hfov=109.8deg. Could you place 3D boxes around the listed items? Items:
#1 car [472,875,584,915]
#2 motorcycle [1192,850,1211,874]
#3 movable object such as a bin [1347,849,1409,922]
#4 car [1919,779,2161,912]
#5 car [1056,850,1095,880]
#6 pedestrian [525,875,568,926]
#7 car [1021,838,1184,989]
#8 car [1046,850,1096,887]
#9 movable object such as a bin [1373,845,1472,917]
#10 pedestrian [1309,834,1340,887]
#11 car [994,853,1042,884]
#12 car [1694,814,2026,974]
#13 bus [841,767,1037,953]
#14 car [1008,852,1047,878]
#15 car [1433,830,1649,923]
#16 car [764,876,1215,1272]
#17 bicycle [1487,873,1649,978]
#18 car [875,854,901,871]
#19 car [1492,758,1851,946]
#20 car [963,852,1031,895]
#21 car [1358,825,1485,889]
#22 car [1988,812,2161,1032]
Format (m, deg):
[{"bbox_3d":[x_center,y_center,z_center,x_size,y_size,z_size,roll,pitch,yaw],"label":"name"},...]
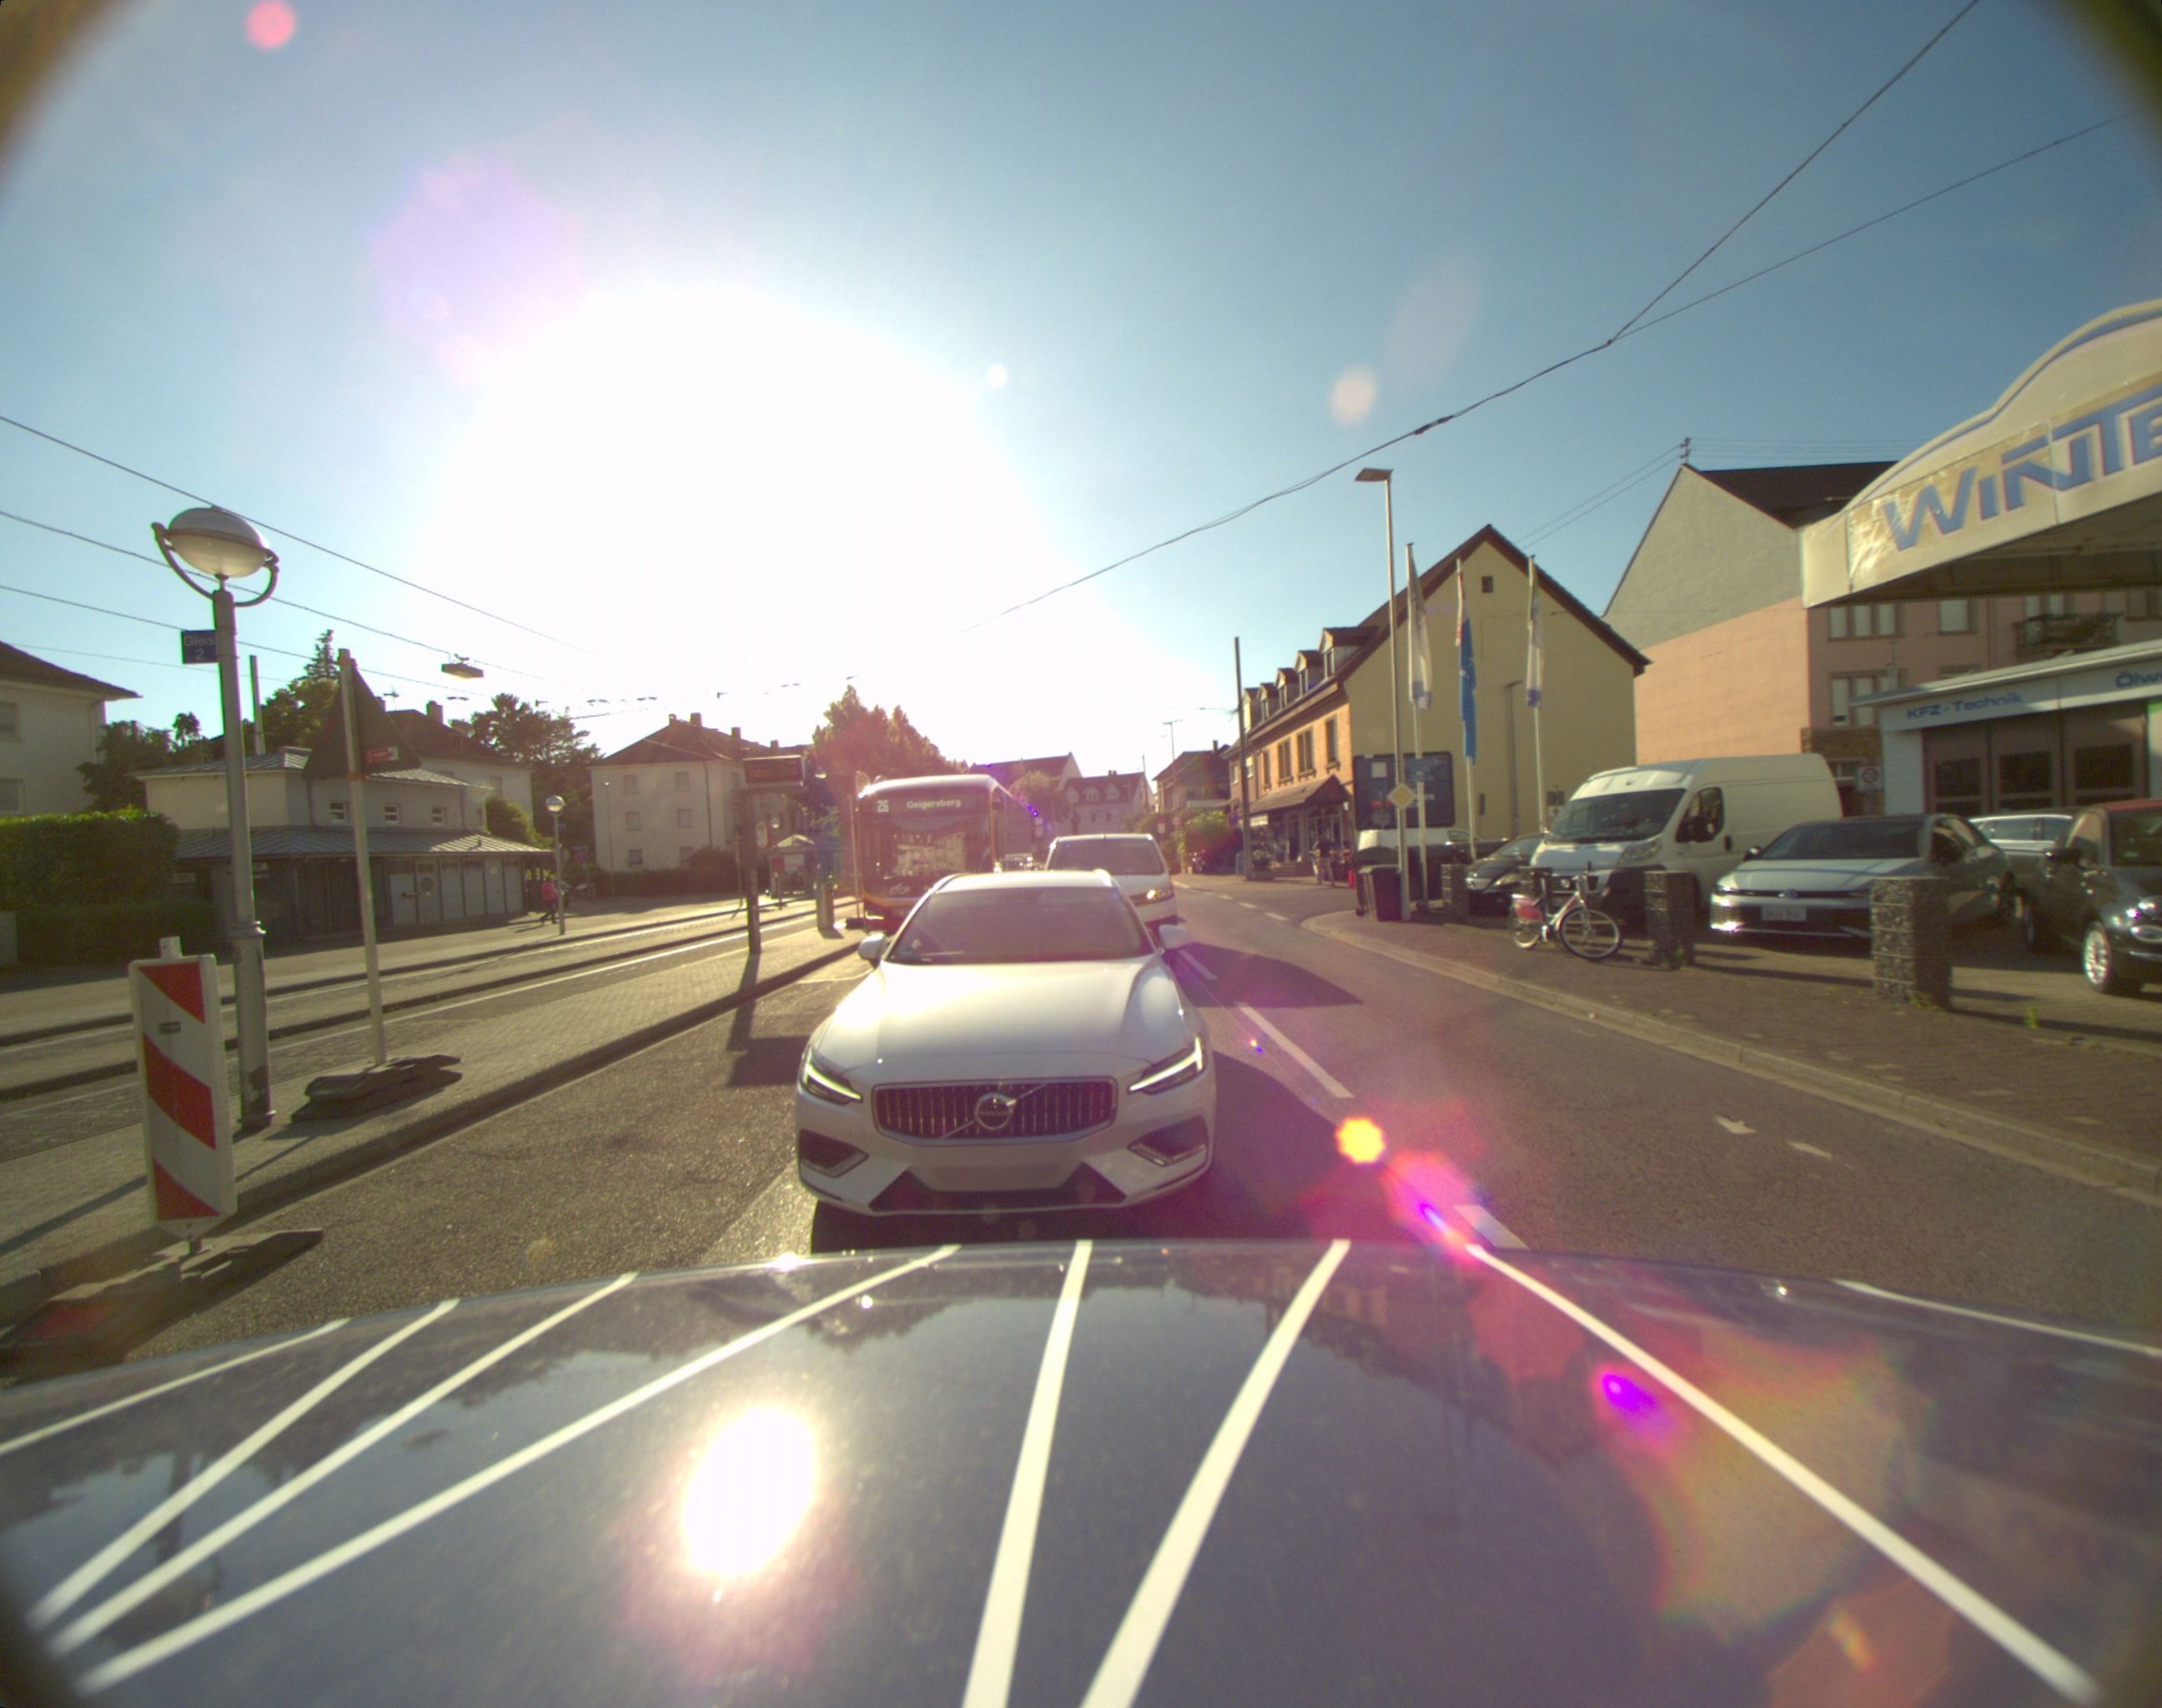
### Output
[{"bbox_3d":[-27.686,2.043,38.144,4.052,1.663,2.000,-4,1,2],"label":"car"},{"bbox_3d":[6.355,0.415,40.125,0.708,1.210,2.186,-2,1,3],"label":"motorcycle"},{"bbox_3d":[6.238,0.640,15.956,1.045,1.456,0.797,-2,1,32],"label":"movable object such as a bin"},{"bbox_3d":[16.483,-0.173,11.993,1.742,1.933,4.257,-3,1,-1],"label":"car"},{"bbox_3d":[-0.251,0.564,41.513,1.969,1.450,4.824,-2,0,1],"label":"car"},{"bbox_3d":[-18.790,1.635,26.723,0.841,1.708,0.825,-2,1,5],"label":"pedestrian"},{"bbox_3d":[0.305,0.732,12.015,1.969,1.816,5.033,-2,0,1],"label":"car"},{"bbox_3d":[-0.390,0.580,33.266,1.969,1.450,4.824,-2,0,1],"label":"car"},{"bbox_3d":[7.595,0.577,16.919,1.798,1.456,1.046,-3,1,-25],"label":"movable object such as a bin"},{"bbox_3d":[8.727,0.238,27.245,0.822,1.842,0.767,-2,1,-1],"label":"pedestrian"},{"bbox_3d":[-3.227,0.703,39.894,1.969,1.450,4.824,-2,0,1],"label":"car"},{"bbox_3d":[9.492,0.359,9.217,4.036,1.488,1.739,-3,1,-28],"label":"car"},{"bbox_3d":[-2.917,0.093,19.838,2.748,3.284,12.030,-2,0,0],"label":"bus"},{"bbox_3d":[-3.270,0.628,47.309,1.969,1.450,4.824,-2,0,1],"label":"car"},{"bbox_3d":[8.969,0.373,14.752,4.036,1.469,1.739,-3,1,-28],"label":"car"},{"bbox_3d":[-0.351,0.981,5.262,1.821,1.446,4.217,-2,0,1],"label":"car"},{"bbox_3d":[5.884,0.813,9.319,0.725,1.080,1.791,-3,1,-3],"label":"bicycle"},{"bbox_3d":[-23.260,1.012,91.777,1.998,1.853,3.999,-2,1,1],"label":"car"},{"bbox_3d":[9.145,-0.135,11.766,4.997,2.440,2.111,-3,1,-22],"label":"car"},{"bbox_3d":[-3.150,0.703,29.505,1.969,1.450,4.824,-2,0,1],"label":"car"},{"bbox_3d":[11.567,0.096,25.927,3.672,2.002,1.451,-2,1,-3],"label":"car"},{"bbox_3d":[9.078,0.411,6.170,1.590,1.488,3.442,-2,1,40],"label":"car"}]
